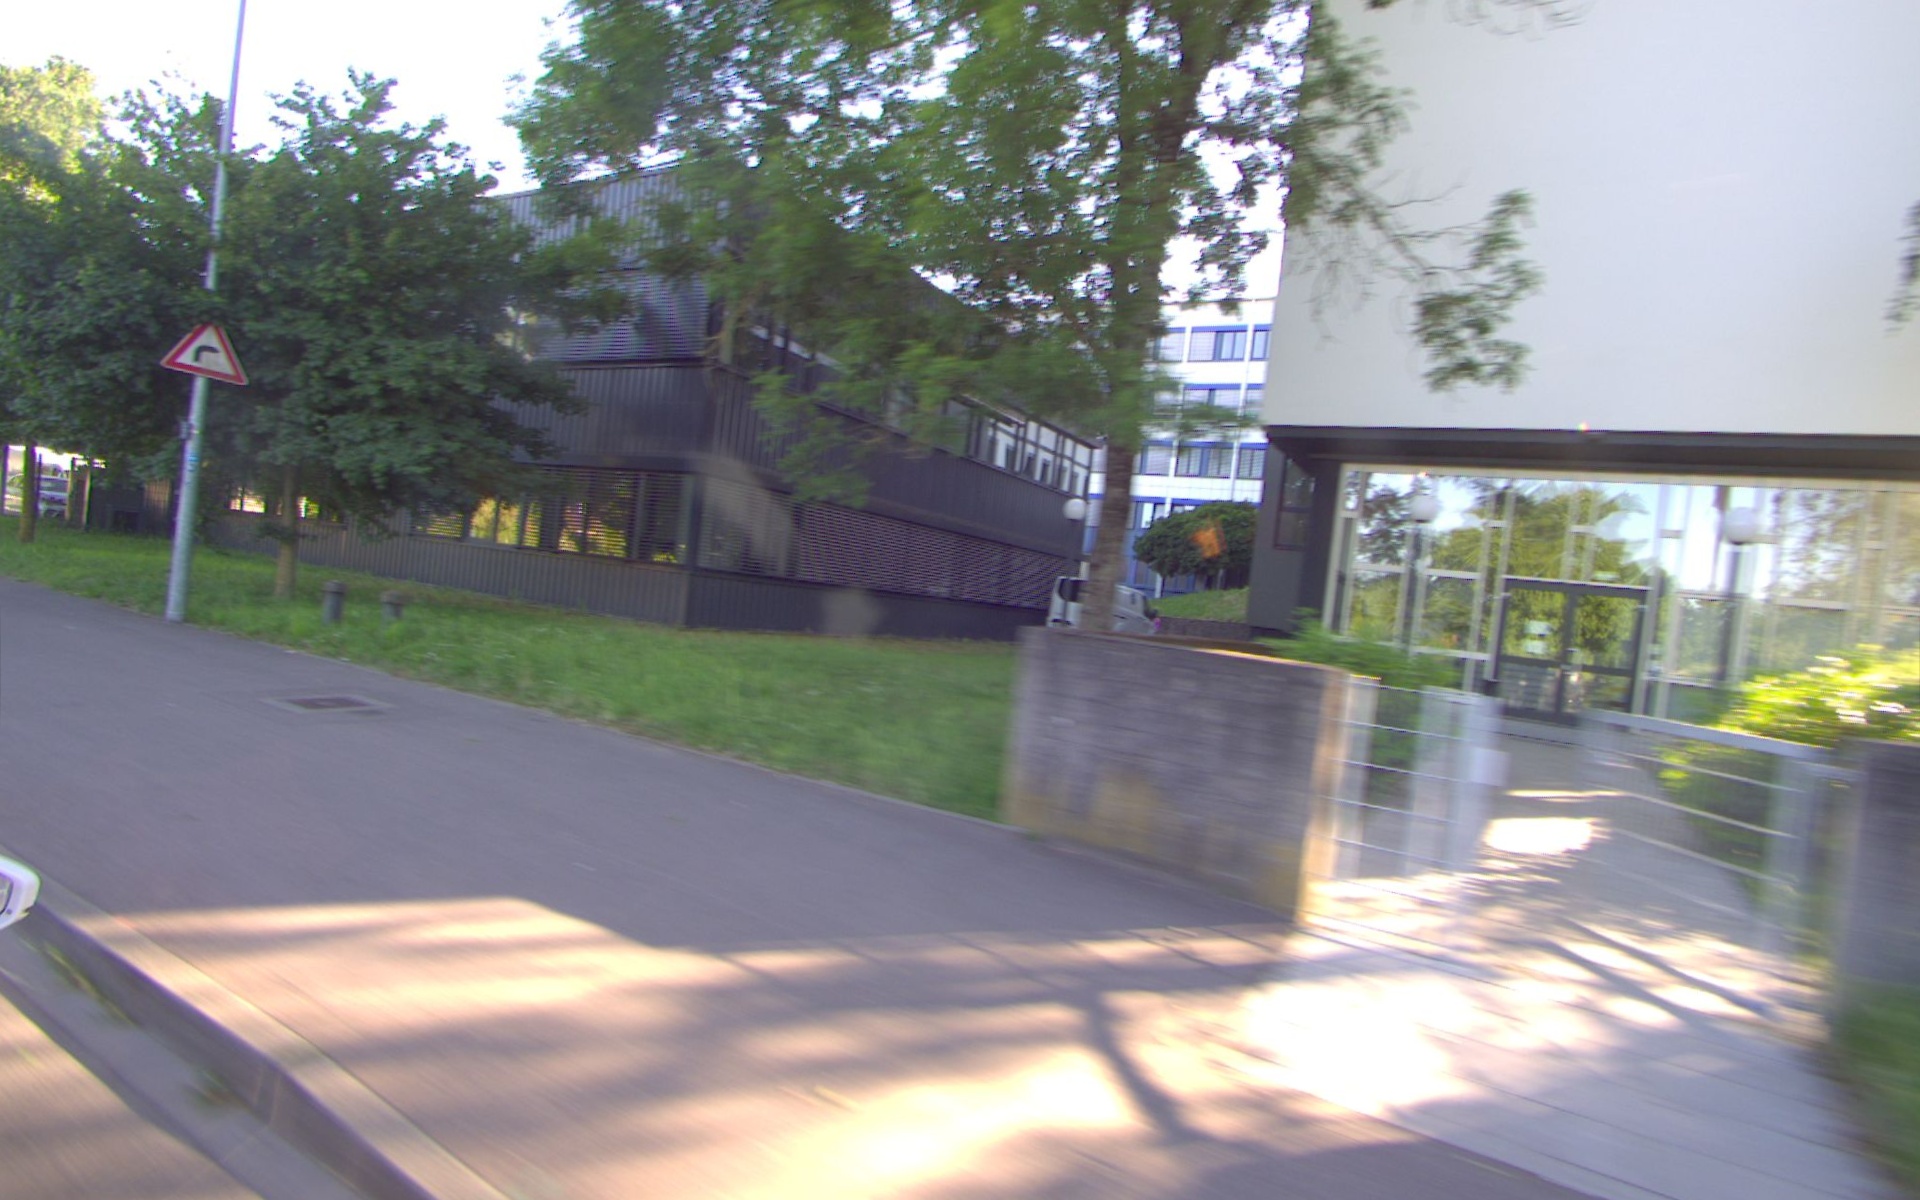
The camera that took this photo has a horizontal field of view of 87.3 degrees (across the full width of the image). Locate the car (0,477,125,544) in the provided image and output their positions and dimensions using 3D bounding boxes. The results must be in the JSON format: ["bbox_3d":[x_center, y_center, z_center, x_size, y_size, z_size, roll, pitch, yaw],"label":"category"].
[{"bbox_3d":[-26.204,-2.602,28.979,4.206,1.484,1.839,6,-2,29],"label":"car"}]

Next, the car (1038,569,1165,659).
[{"bbox_3d":[4.021,0.444,28.080,1.966,2.037,3.995,6,-2,30],"label":"car"}]

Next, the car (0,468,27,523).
[{"bbox_3d":[-35.805,-3.923,36.075,4.584,1.836,1.840,6,-1,27],"label":"car"}]

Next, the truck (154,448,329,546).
[{"bbox_3d":[-24.101,-3.481,33.653,6.295,2.709,2.285,6,-1,32],"label":"truck"}]

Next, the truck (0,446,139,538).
[{"bbox_3d":[-35.343,-4.276,39.313,6.631,2.871,2.365,7,-1,27],"label":"truck"}]
